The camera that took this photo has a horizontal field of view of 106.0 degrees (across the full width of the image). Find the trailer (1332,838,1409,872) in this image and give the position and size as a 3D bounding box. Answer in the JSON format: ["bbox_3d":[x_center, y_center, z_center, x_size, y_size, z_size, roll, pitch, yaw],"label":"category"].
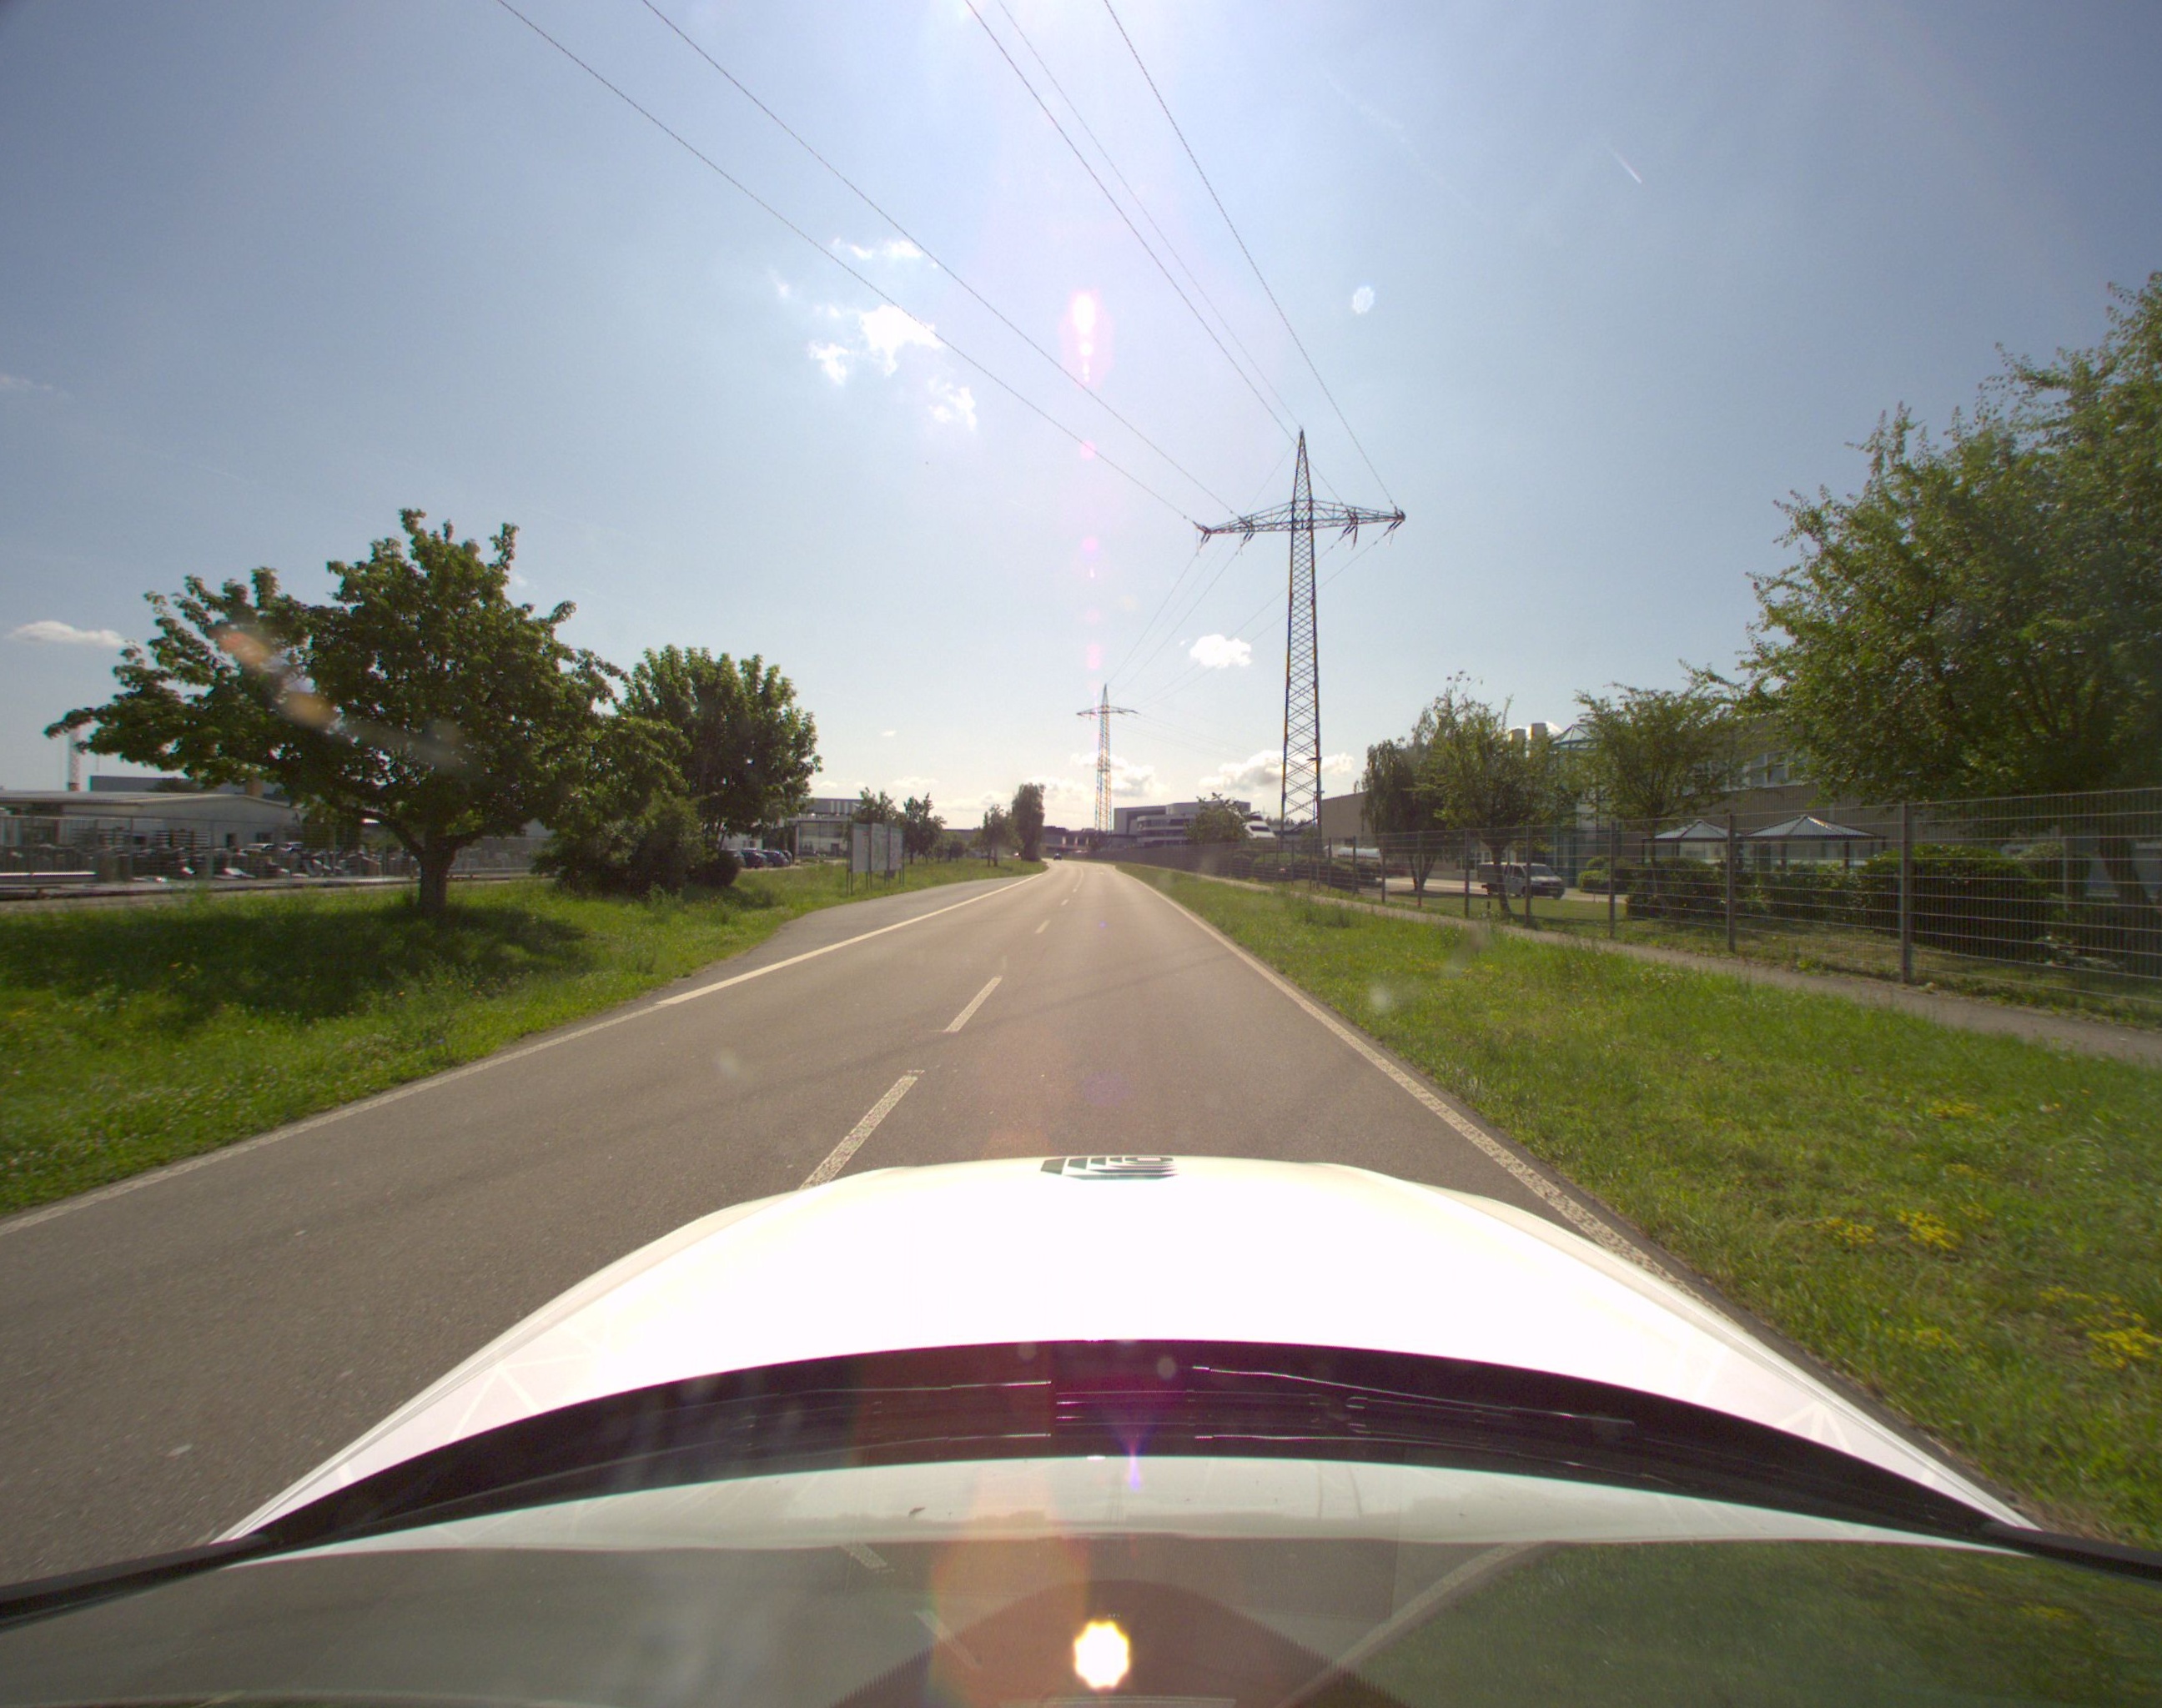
[{"bbox_3d":[33.418,0.062,94.775,3.585,3.735,12.214,0,0,-5],"label":"trailer"}]

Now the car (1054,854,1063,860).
[{"bbox_3d":[-5.569,0.794,200.402,2.007,1.508,3.997,-1,0,-2],"label":"car"}]

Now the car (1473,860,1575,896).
[{"bbox_3d":[24.391,1.288,45.110,2.107,1.779,5.642,1,0,-7],"label":"car"}]

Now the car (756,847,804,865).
[{"bbox_3d":[-29.077,0.161,78.791,3.980,1.640,1.997,1,0,-5],"label":"car"}]

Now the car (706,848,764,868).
[{"bbox_3d":[-28.288,0.315,66.660,3.980,1.555,1.663,1,0,-5],"label":"car"}]

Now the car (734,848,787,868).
[{"bbox_3d":[-28.735,0.348,73.113,3.980,1.640,1.997,1,0,-5],"label":"car"}]

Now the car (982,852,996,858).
[{"bbox_3d":[-26.134,0.283,231.403,3.983,1.574,1.995,4,-3,-7],"label":"car"}]

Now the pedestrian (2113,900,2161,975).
[{"bbox_3d":[13.554,1.042,10.164,0.508,0.893,0.666,1,0,0],"label":"pedestrian"}]
